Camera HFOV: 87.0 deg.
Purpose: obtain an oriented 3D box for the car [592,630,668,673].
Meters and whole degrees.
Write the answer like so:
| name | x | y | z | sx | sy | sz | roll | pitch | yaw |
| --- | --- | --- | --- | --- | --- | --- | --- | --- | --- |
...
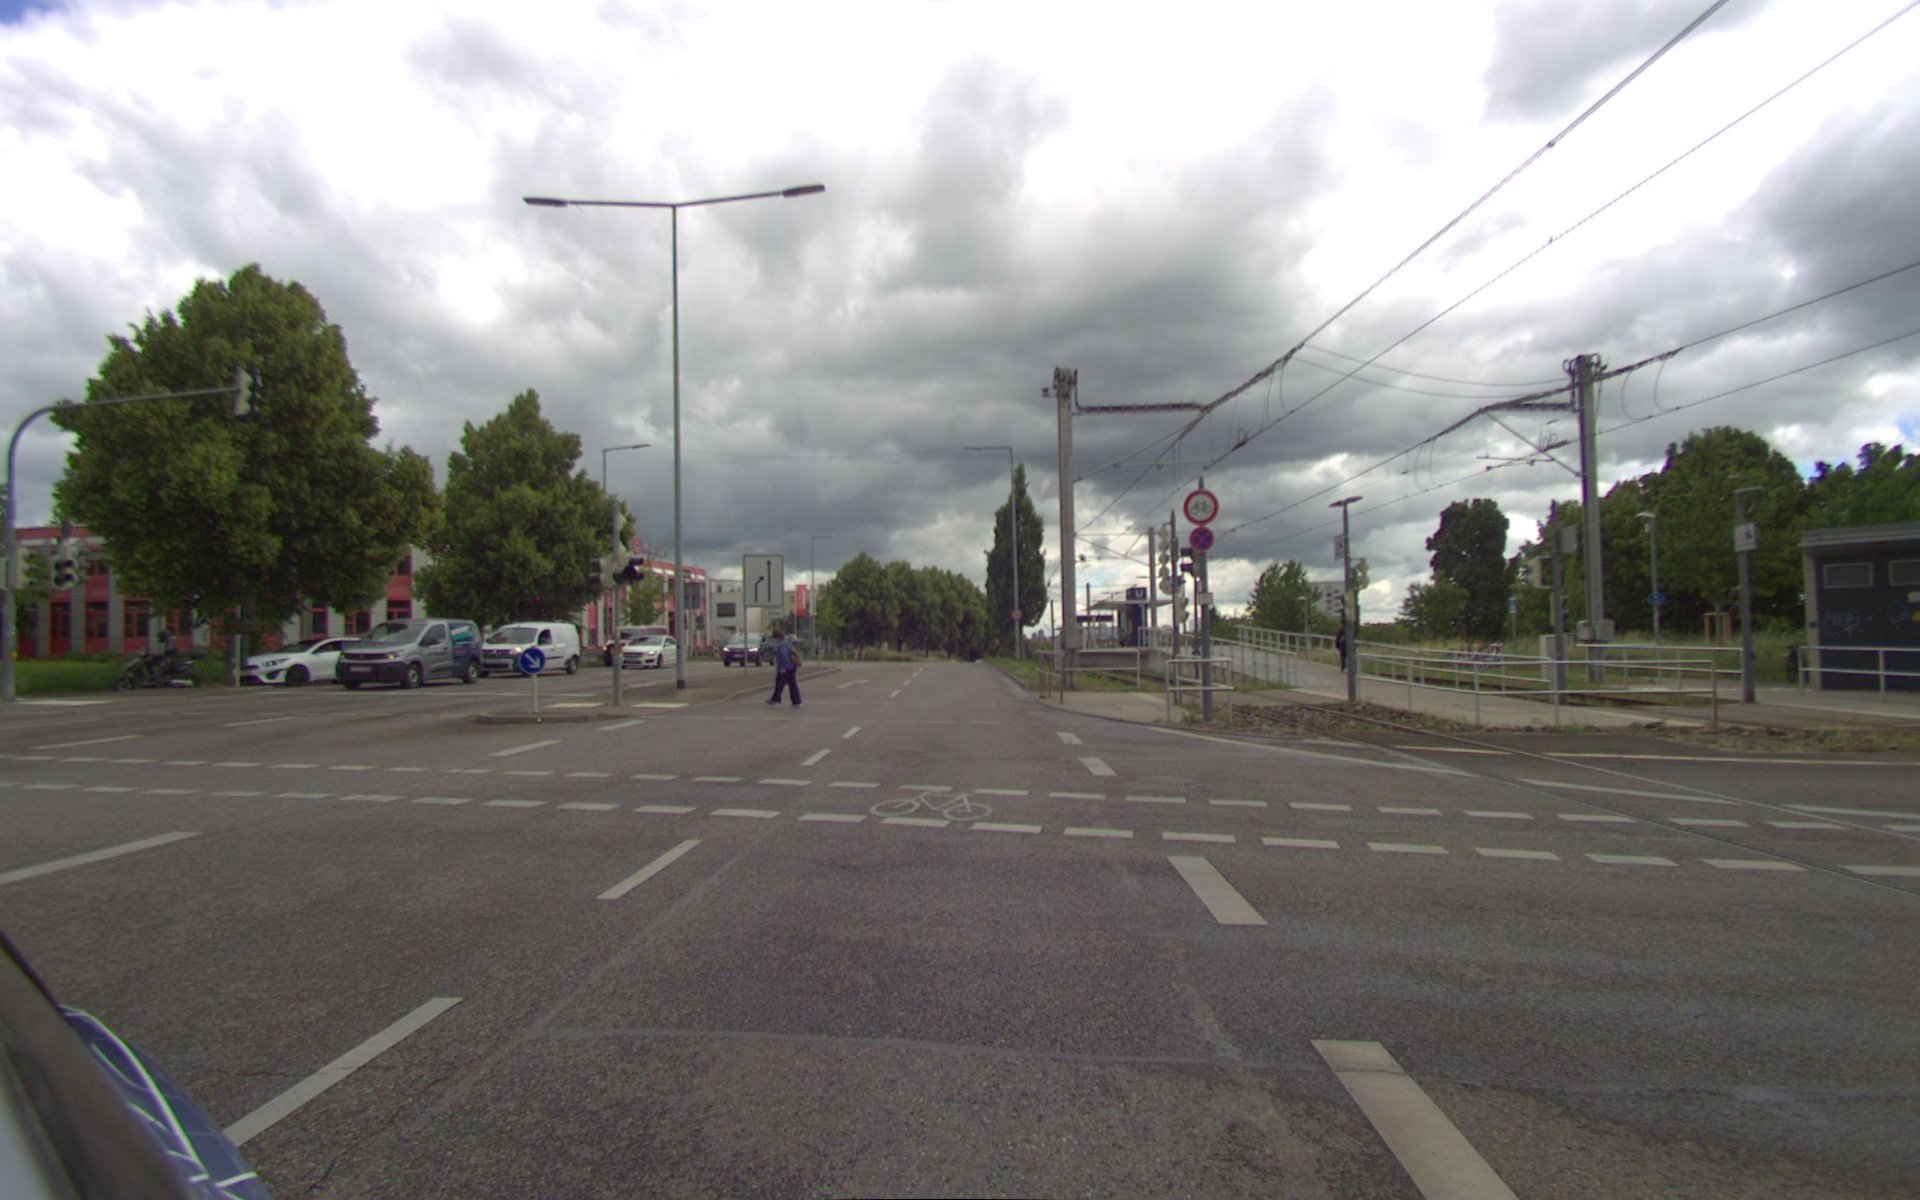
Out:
| name | x | y | z | sx | sy | sz | roll | pitch | yaw |
| --- | --- | --- | --- | --- | --- | --- | --- | --- | --- |
| car | -16.210 | 2.566 | 49.935 | 2.156 | 1.920 | 4.450 | 0 | -5 | 2 |

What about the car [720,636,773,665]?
| name | x | y | z | sx | sy | sz | roll | pitch | yaw |
| --- | --- | --- | --- | --- | --- | --- | --- | --- | --- |
| car | -14.515 | 3.410 | 69.203 | 1.928 | 1.920 | 5.225 | 0 | -2 | 7 |

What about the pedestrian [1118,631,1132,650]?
| name | x | y | z | sx | sy | sz | roll | pitch | yaw |
| --- | --- | --- | --- | --- | --- | --- | --- | --- | --- |
| pedestrian | 10.583 | 2.579 | 64.896 | 0.741 | 1.184 | 0.837 | 0 | -2 | 3 |

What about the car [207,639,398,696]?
| name | x | y | z | sx | sy | sz | roll | pitch | yaw |
| --- | --- | --- | --- | --- | --- | --- | --- | --- | --- |
| car | -18.858 | 1.895 | 29.291 | 1.822 | 1.431 | 4.484 | -3 | -2 | 19 |

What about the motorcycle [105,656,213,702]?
| name | x | y | z | sx | sy | sz | roll | pitch | yaw |
| --- | --- | --- | --- | --- | --- | --- | --- | --- | --- |
| motorcycle | -20.381 | 1.993 | 25.785 | 0.758 | 1.099 | 2.042 | -3 | -4 | 38 |

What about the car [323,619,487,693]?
| name | x | y | z | sx | sy | sz | roll | pitch | yaw |
| --- | --- | --- | --- | --- | --- | --- | --- | --- | --- |
| car | -14.515 | 1.440 | 26.769 | 1.791 | 1.793 | 4.216 | 0 | -2 | 4 |

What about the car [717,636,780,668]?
| name | x | y | z | sx | sy | sz | roll | pitch | yaw |
| --- | --- | --- | --- | --- | --- | --- | --- | --- | --- |
| car | -10.050 | 2.532 | 48.402 | 1.792 | 1.351 | 4.215 | 0 | -5 | 5 |

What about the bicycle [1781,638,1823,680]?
| name | x | y | z | sx | sy | sz | roll | pitch | yaw |
| --- | --- | --- | --- | --- | --- | --- | --- | --- | --- |
| bicycle | 24.009 | 1.667 | 28.843 | 2.222 | 1.114 | 0.679 | 1 | -2 | -44 |

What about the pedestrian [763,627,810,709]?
| name | x | y | z | sx | sy | sz | roll | pitch | yaw |
| --- | --- | --- | --- | --- | --- | --- | --- | --- | --- |
| pedestrian | -3.309 | 1.289 | 19.370 | 0.708 | 1.542 | 0.669 | -1 | -2 | 9 |

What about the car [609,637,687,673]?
| name | x | y | z | sx | sy | sz | roll | pitch | yaw |
| --- | --- | --- | --- | --- | --- | --- | --- | --- | --- |
| car | -13.299 | 2.401 | 43.442 | 1.791 | 1.351 | 4.216 | 0 | -5 | 4 |

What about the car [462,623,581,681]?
| name | x | y | z | sx | sy | sz | roll | pitch | yaw |
| --- | --- | --- | --- | --- | --- | --- | --- | --- | --- |
| car | -14.563 | 1.749 | 33.935 | 1.790 | 1.806 | 4.692 | 0 | -3 | 2 |

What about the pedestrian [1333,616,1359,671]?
| name | x | y | z | sx | sy | sz | roll | pitch | yaw |
| --- | --- | --- | --- | --- | --- | --- | --- | --- | --- |
| pedestrian | 11.134 | 1.252 | 29.225 | 0.557 | 1.584 | 0.545 | 0 | 0 | 3 |

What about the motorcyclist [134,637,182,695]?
| name | x | y | z | sx | sy | sz | roll | pitch | yaw |
| --- | --- | --- | --- | --- | --- | --- | --- | --- | --- |
| motorcyclist | -20.411 | 1.670 | 25.764 | 0.758 | 1.432 | 0.806 | -3 | -4 | 39 |
